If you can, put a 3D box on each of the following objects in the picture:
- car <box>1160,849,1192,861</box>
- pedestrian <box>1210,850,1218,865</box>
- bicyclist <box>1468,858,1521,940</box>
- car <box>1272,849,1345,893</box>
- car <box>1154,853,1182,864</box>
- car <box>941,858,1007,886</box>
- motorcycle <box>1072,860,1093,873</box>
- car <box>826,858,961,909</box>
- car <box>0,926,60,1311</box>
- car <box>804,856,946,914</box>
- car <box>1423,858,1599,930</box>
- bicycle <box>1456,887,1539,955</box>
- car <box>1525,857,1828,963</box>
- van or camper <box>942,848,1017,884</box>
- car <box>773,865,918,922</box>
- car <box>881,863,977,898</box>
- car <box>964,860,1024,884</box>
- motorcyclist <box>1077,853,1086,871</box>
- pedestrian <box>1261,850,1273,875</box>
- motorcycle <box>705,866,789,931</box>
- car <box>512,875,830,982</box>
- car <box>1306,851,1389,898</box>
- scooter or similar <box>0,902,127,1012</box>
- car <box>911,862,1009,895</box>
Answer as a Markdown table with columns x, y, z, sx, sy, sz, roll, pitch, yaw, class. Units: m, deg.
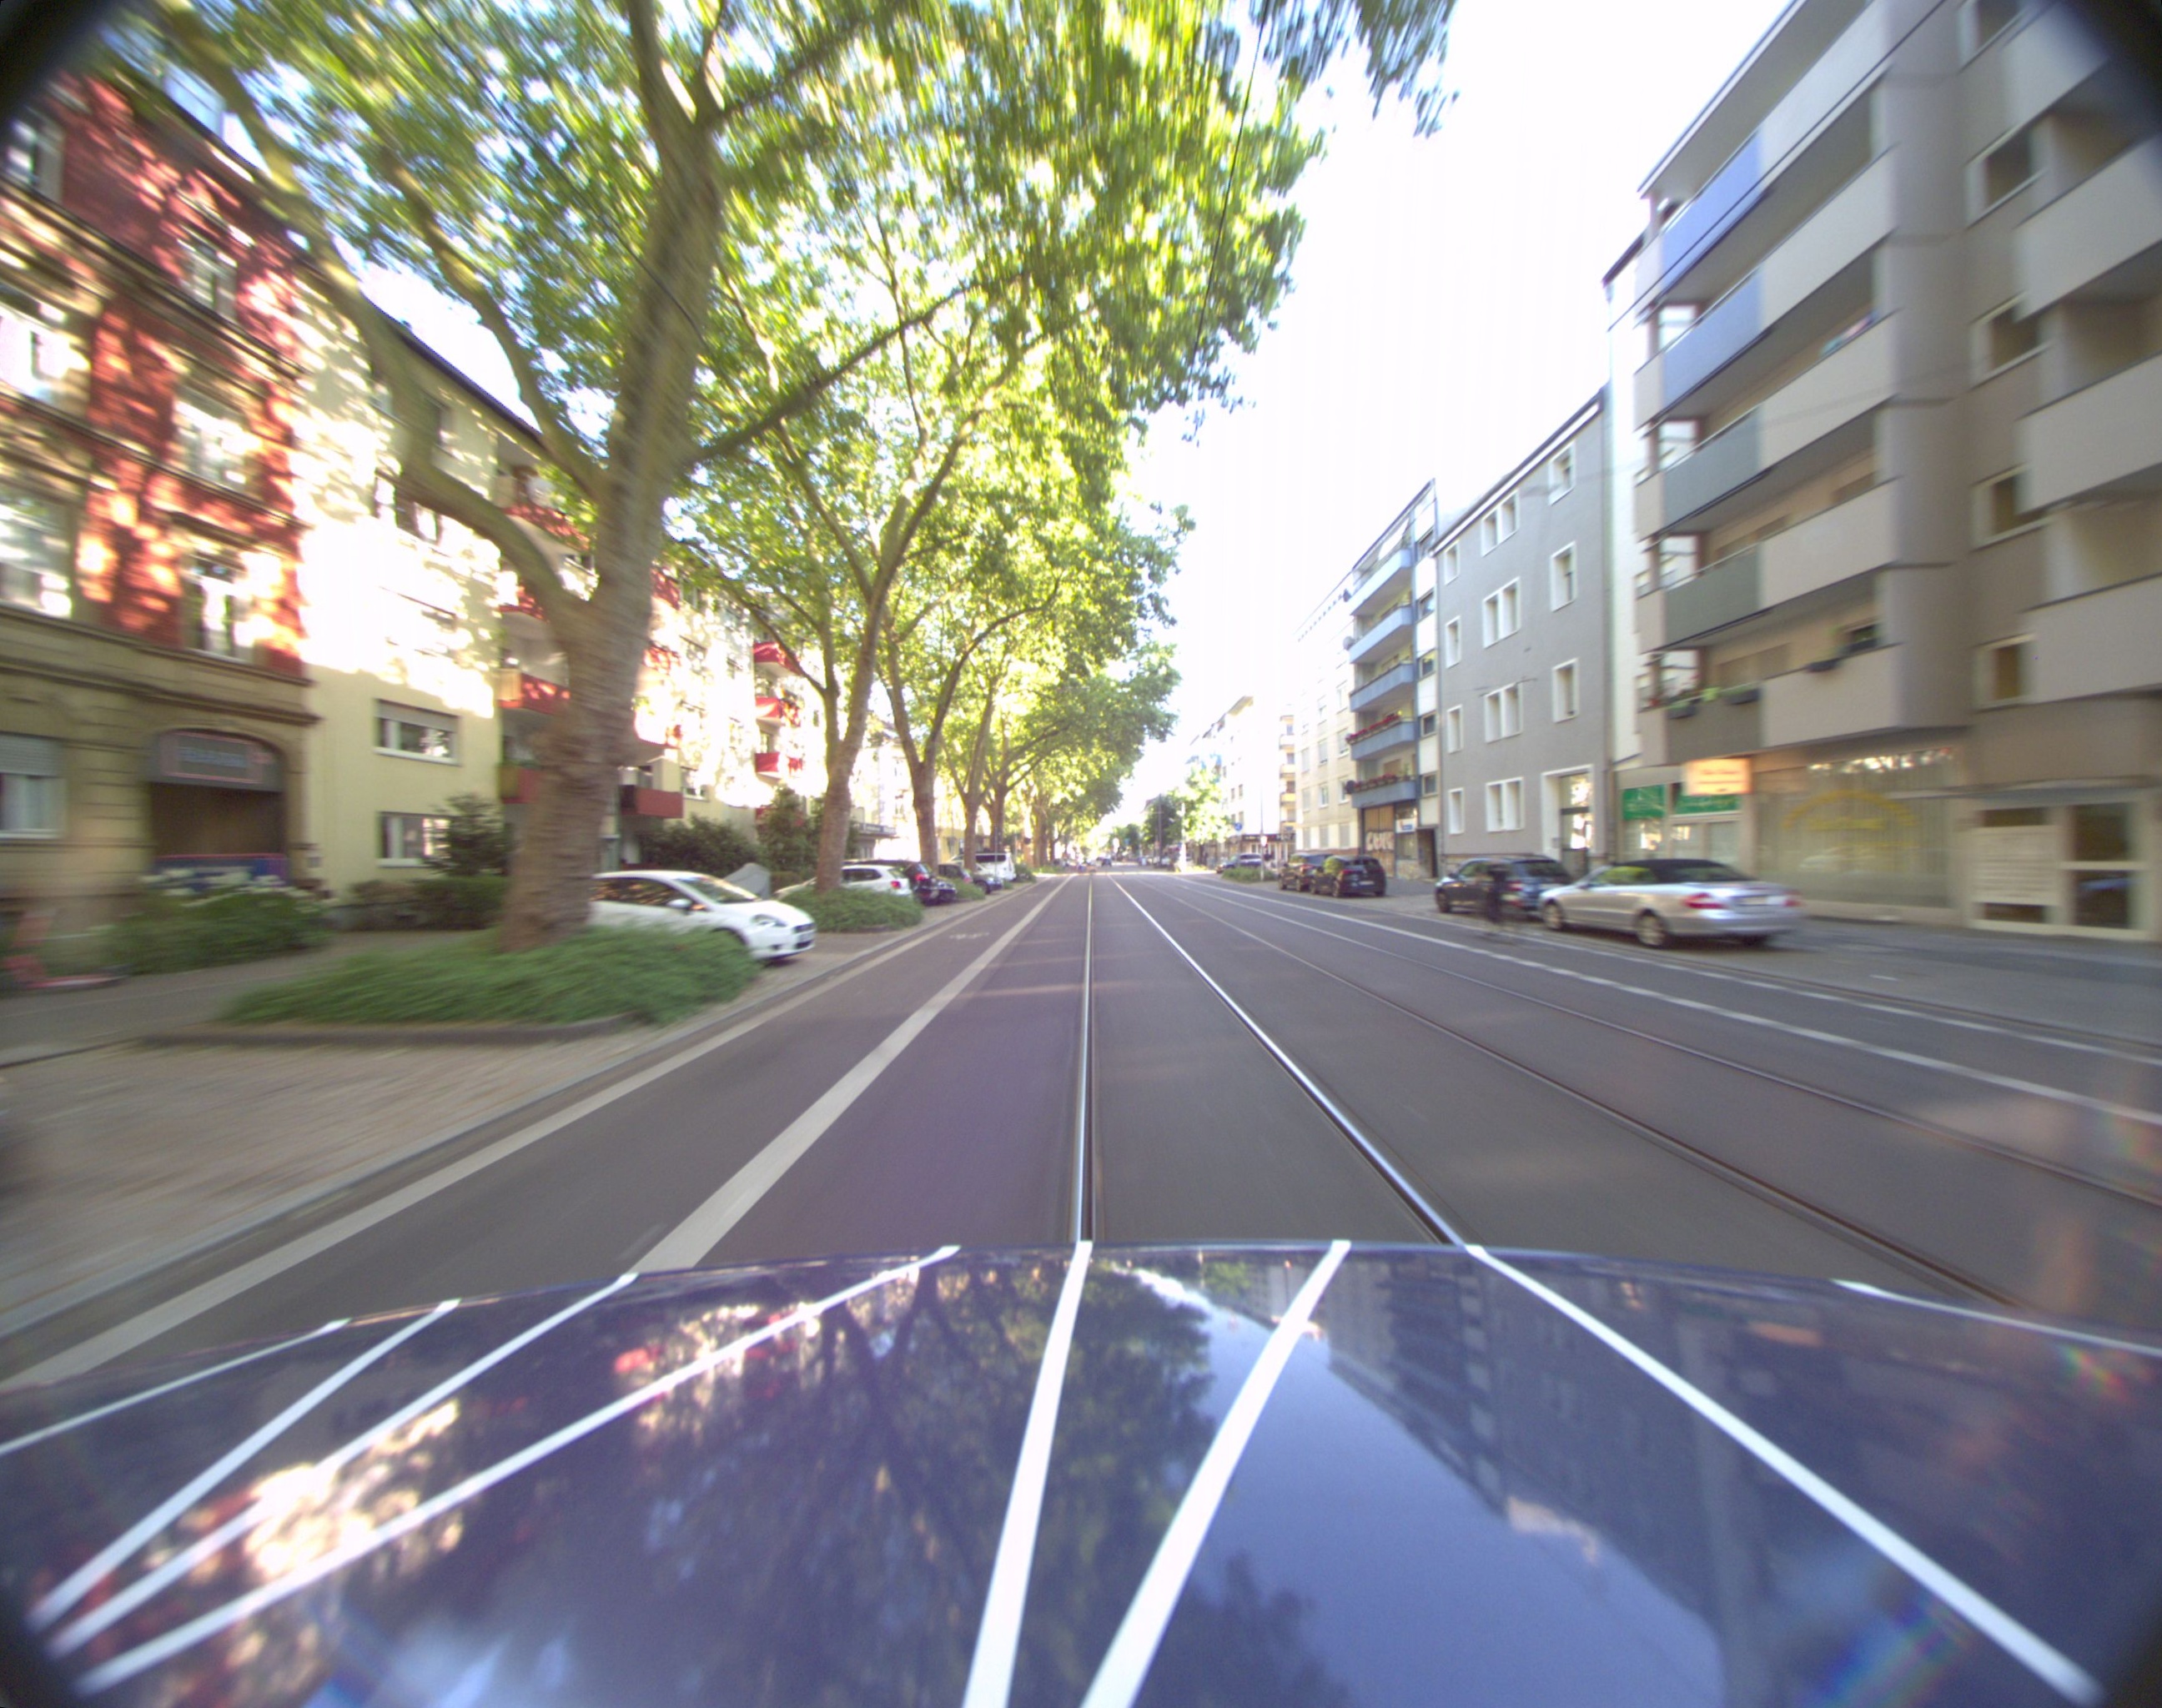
| x | y | z | sx | sy | sz | roll | pitch | yaw | class |
| --- | --- | --- | --- | --- | --- | --- | --- | --- | --- |
| 12.134 | 0.115 | 97.526 | 3.953 | 1.515 | 1.587 | -1 | 0 | 5 | car |
| 13.754 | 0.326 | 78.618 | 0.596 | 1.496 | 0.655 | -2 | 1 | 1 | pedestrian |
| 7.239 | 0.763 | 13.325 | 0.510 | 1.386 | 0.709 | 1 | 1 | 1 | bicyclist |
| 10.057 | 0.714 | 34.001 | 1.784 | 1.728 | 4.489 | -3 | 0 | -1 | car |
| 12.728 | 0.666 | 111.547 | 3.953 | 1.515 | 1.587 | -1 | 0 | 5 | car |
| -6.116 | 1.006 | 43.810 | 3.572 | 1.522 | 1.677 | -1 | 0 | -1 | car |
| 0.101 | 1.156 | 68.640 | 1.832 | 1.112 | 0.590 | -1 | 1 | -7 | motorcycle |
| -6.489 | 1.015 | 26.679 | 4.302 | 1.643 | 1.743 | -1 | 0 | -2 | car |
| -6.607 | 1.167 | 2.365 | 4.399 | 1.543 | 1.783 | -2 | 0 | 0 | car |
| -6.521 | 0.963 | 24.305 | 4.003 | 1.734 | 1.805 | -1 | 0 | 1 | car |
| 10.100 | 0.857 | 18.277 | 1.798 | 1.482 | 4.240 | -1 | 0 | 0 | car |
| 7.238 | 1.127 | 13.304 | 0.418 | 1.012 | 1.947 | 1 | 0 | 1 | bicycle |
| 9.937 | 0.811 | 13.275 | 1.693 | 1.482 | 4.728 | -1 | 0 | 2 | car |
| -6.138 | 0.721 | 46.466 | 4.388 | 2.097 | 1.838 | -1 | 1 | -3 | van or camper |
| -6.680 | 1.103 | 21.814 | 3.618 | 1.486 | 1.660 | -1 | 0 | -1 | car |
| -6.527 | 1.124 | 32.941 | 3.837 | 1.435 | 1.699 | 0 | 0 | -3 | car |
| -5.552 | 1.117 | 48.733 | 3.570 | 1.431 | 1.727 | -1 | 0 | 4 | car |
| 0.049 | 0.743 | 68.648 | 0.756 | 1.609 | 0.588 | -1 | 1 | -6 | motorcyclist |
| 14.477 | 0.688 | 59.020 | 0.773 | 1.888 | 0.799 | -2 | 1 | 9 | pedestrian |
| -8.377 | 1.059 | 19.251 | 0.842 | 1.470 | 2.818 | -1 | 0 | 1 | motorcycle |
| -6.150 | 1.084 | 11.739 | 3.964 | 1.471 | 1.688 | 0 | 0 | -1 | car |
| 10.048 | 0.715 | 28.978 | 1.660 | 1.591 | 4.202 | -3 | 0 | 0 | car |
| -12.614 | 1.229 | 9.313 | 0.275 | 1.217 | 1.123 | -1 | 0 | 10 | scooter or similar |
| -5.561 | 1.130 | 35.294 | 4.206 | 1.473 | 1.912 | 0 | 0 | 2 | car |
